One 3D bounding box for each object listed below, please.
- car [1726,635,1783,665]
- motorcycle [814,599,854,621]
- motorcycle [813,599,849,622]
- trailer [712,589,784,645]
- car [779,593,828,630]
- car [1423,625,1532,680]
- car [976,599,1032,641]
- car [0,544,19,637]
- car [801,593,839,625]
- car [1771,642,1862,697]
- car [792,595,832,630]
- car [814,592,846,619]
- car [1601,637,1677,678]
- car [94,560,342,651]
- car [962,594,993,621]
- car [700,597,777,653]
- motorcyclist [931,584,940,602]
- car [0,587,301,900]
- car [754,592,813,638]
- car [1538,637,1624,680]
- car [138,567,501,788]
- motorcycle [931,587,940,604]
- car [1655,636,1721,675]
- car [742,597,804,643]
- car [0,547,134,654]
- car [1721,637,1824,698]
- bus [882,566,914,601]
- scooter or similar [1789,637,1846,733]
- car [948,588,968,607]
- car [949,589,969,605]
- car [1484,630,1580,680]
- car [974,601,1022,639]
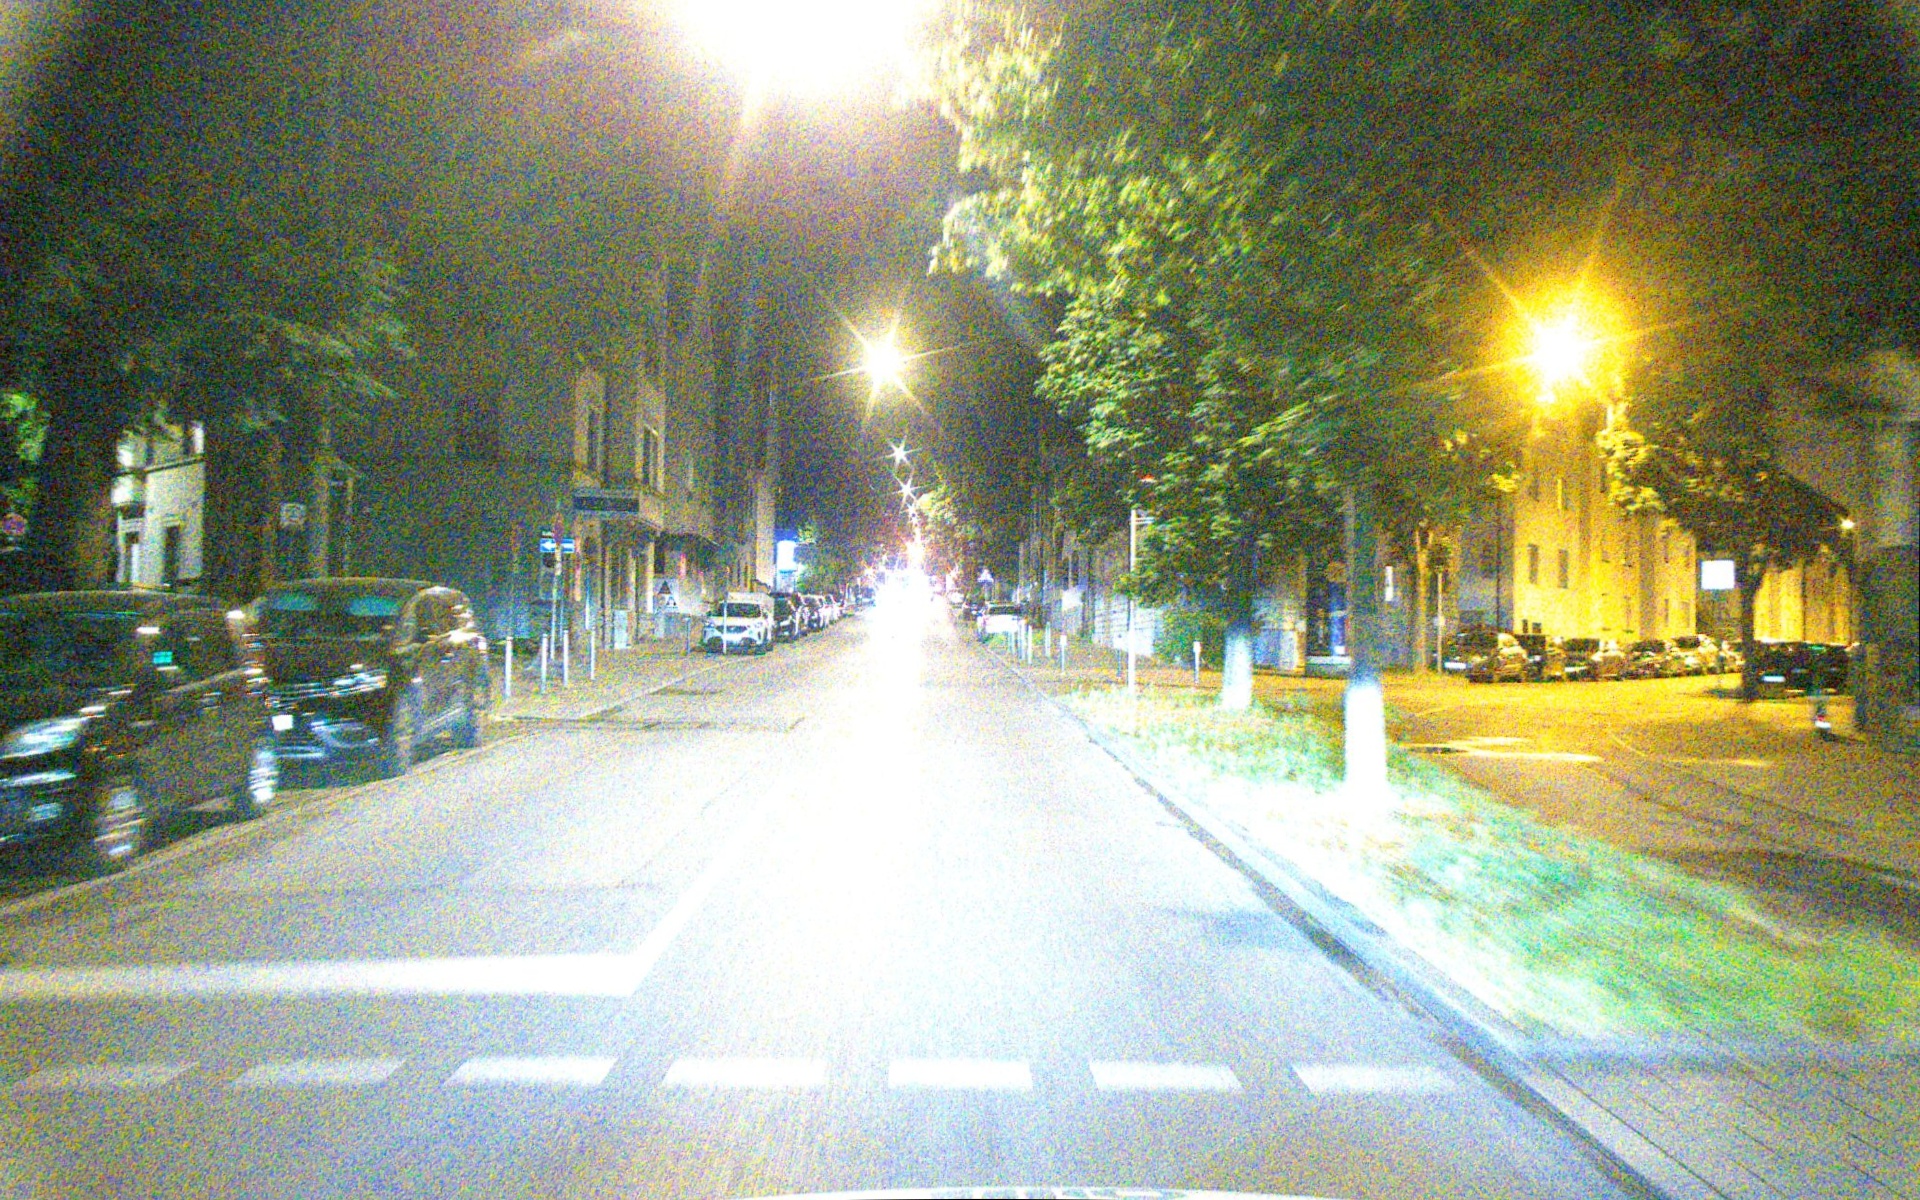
[{"bbox_3d":[40.289,2.537,83.866,1.742,1.466,3.900,1,-1,39],"label":"car"},{"bbox_3d":[-6.898,0.537,90.591,2.162,1.150,0.714,1,1,32],"label":"motorcycle"},{"bbox_3d":[-6.911,0.558,88.571,0.710,1.167,2.174,0,1,-43],"label":"motorcycle"},{"bbox_3d":[-6.672,0.531,52.326,1.603,1.668,3.440,2,0,3],"label":"trailer"},{"bbox_3d":[-6.767,0.488,72.003,1.826,1.518,4.278,2,0,-2],"label":"car"},{"bbox_3d":[14.588,1.463,46.518,1.766,1.442,3.822,1,-1,36],"label":"car"},{"bbox_3d":[1.589,0.729,61.310,1.808,1.442,4.643,-2,0,-2],"label":"car"},{"bbox_3d":[-17.894,-0.248,27.532,1.719,1.634,3.983,3,-1,8],"label":"car"},{"bbox_3d":[-7.115,0.444,84.249,1.670,1.517,4.226,0,1,-2],"label":"car"},{"bbox_3d":[24.484,1.952,47.222,1.766,1.442,3.822,1,-1,36],"label":"car"},{"bbox_3d":[-6.809,0.563,76.592,1.589,1.518,3.779,2,0,-2],"label":"car"},{"bbox_3d":[-7.565,0.312,96.214,1.605,1.524,2.765,1,0,0],"label":"car"},{"bbox_3d":[25.215,2.121,61.370,1.740,1.442,3.904,1,-1,36],"label":"car"},{"bbox_3d":[-14.131,0.104,31.598,3.903,1.450,1.763,4,0,8],"label":"car"},{"bbox_3d":[1.026,0.454,99.763,1.727,1.502,4.080,-1,1,-1],"label":"car"},{"bbox_3d":[-6.339,0.696,47.666,1.778,1.510,4.345,1,0,-3],"label":"car"},{"bbox_3d":[-2.602,-0.732,174.152,0.831,1.782,0.805,2,-1,-1],"label":"motorcyclist"},{"bbox_3d":[-5.448,0.709,10.048,1.615,1.541,3.698,2,0,-5],"label":"car"},{"bbox_3d":[-6.723,0.544,63.453,1.798,1.647,4.544,2,0,-1],"label":"car"},{"bbox_3d":[20.964,1.957,55.750,1.740,1.364,3.904,1,-1,36],"label":"car"},{"bbox_3d":[-5.661,0.583,15.303,1.812,1.679,4.667,2,1,-5],"label":"car"},{"bbox_3d":[-2.606,-0.490,174.148,0.912,1.782,2.624,2,-1,-1],"label":"motorcycle"},{"bbox_3d":[30.596,2.336,69.506,1.740,1.527,3.904,1,-1,36],"label":"car"},{"bbox_3d":[-6.543,0.672,58.287,1.798,1.472,4.543,1,1,-2],"label":"car"},{"bbox_3d":[-15.104,-0.038,26.412,1.721,1.564,4.185,4,-1,-2],"label":"car"},{"bbox_3d":[21.156,1.725,42.986,1.766,1.442,3.822,1,-1,36],"label":"car"},{"bbox_3d":[-6.045,-1.635,162.428,2.780,3.233,10.496,2,1,-1],"label":"bus"},{"bbox_3d":[10.922,1.064,21.097,0.488,1.166,1.666,-2,-2,23],"label":"scooter or similar"},{"bbox_3d":[-0.187,-0.206,148.669,1.775,1.622,4.273,-1,1,-1],"label":"car"},{"bbox_3d":[-0.135,-0.313,161.914,1.831,1.553,4.149,-1,1,-1],"label":"car"},{"bbox_3d":[17.789,1.695,51.361,1.766,1.442,3.822,1,-1,36],"label":"car"},{"bbox_3d":[1.517,0.775,66.768,1.735,1.473,4.018,0,0,-2],"label":"car"}]
